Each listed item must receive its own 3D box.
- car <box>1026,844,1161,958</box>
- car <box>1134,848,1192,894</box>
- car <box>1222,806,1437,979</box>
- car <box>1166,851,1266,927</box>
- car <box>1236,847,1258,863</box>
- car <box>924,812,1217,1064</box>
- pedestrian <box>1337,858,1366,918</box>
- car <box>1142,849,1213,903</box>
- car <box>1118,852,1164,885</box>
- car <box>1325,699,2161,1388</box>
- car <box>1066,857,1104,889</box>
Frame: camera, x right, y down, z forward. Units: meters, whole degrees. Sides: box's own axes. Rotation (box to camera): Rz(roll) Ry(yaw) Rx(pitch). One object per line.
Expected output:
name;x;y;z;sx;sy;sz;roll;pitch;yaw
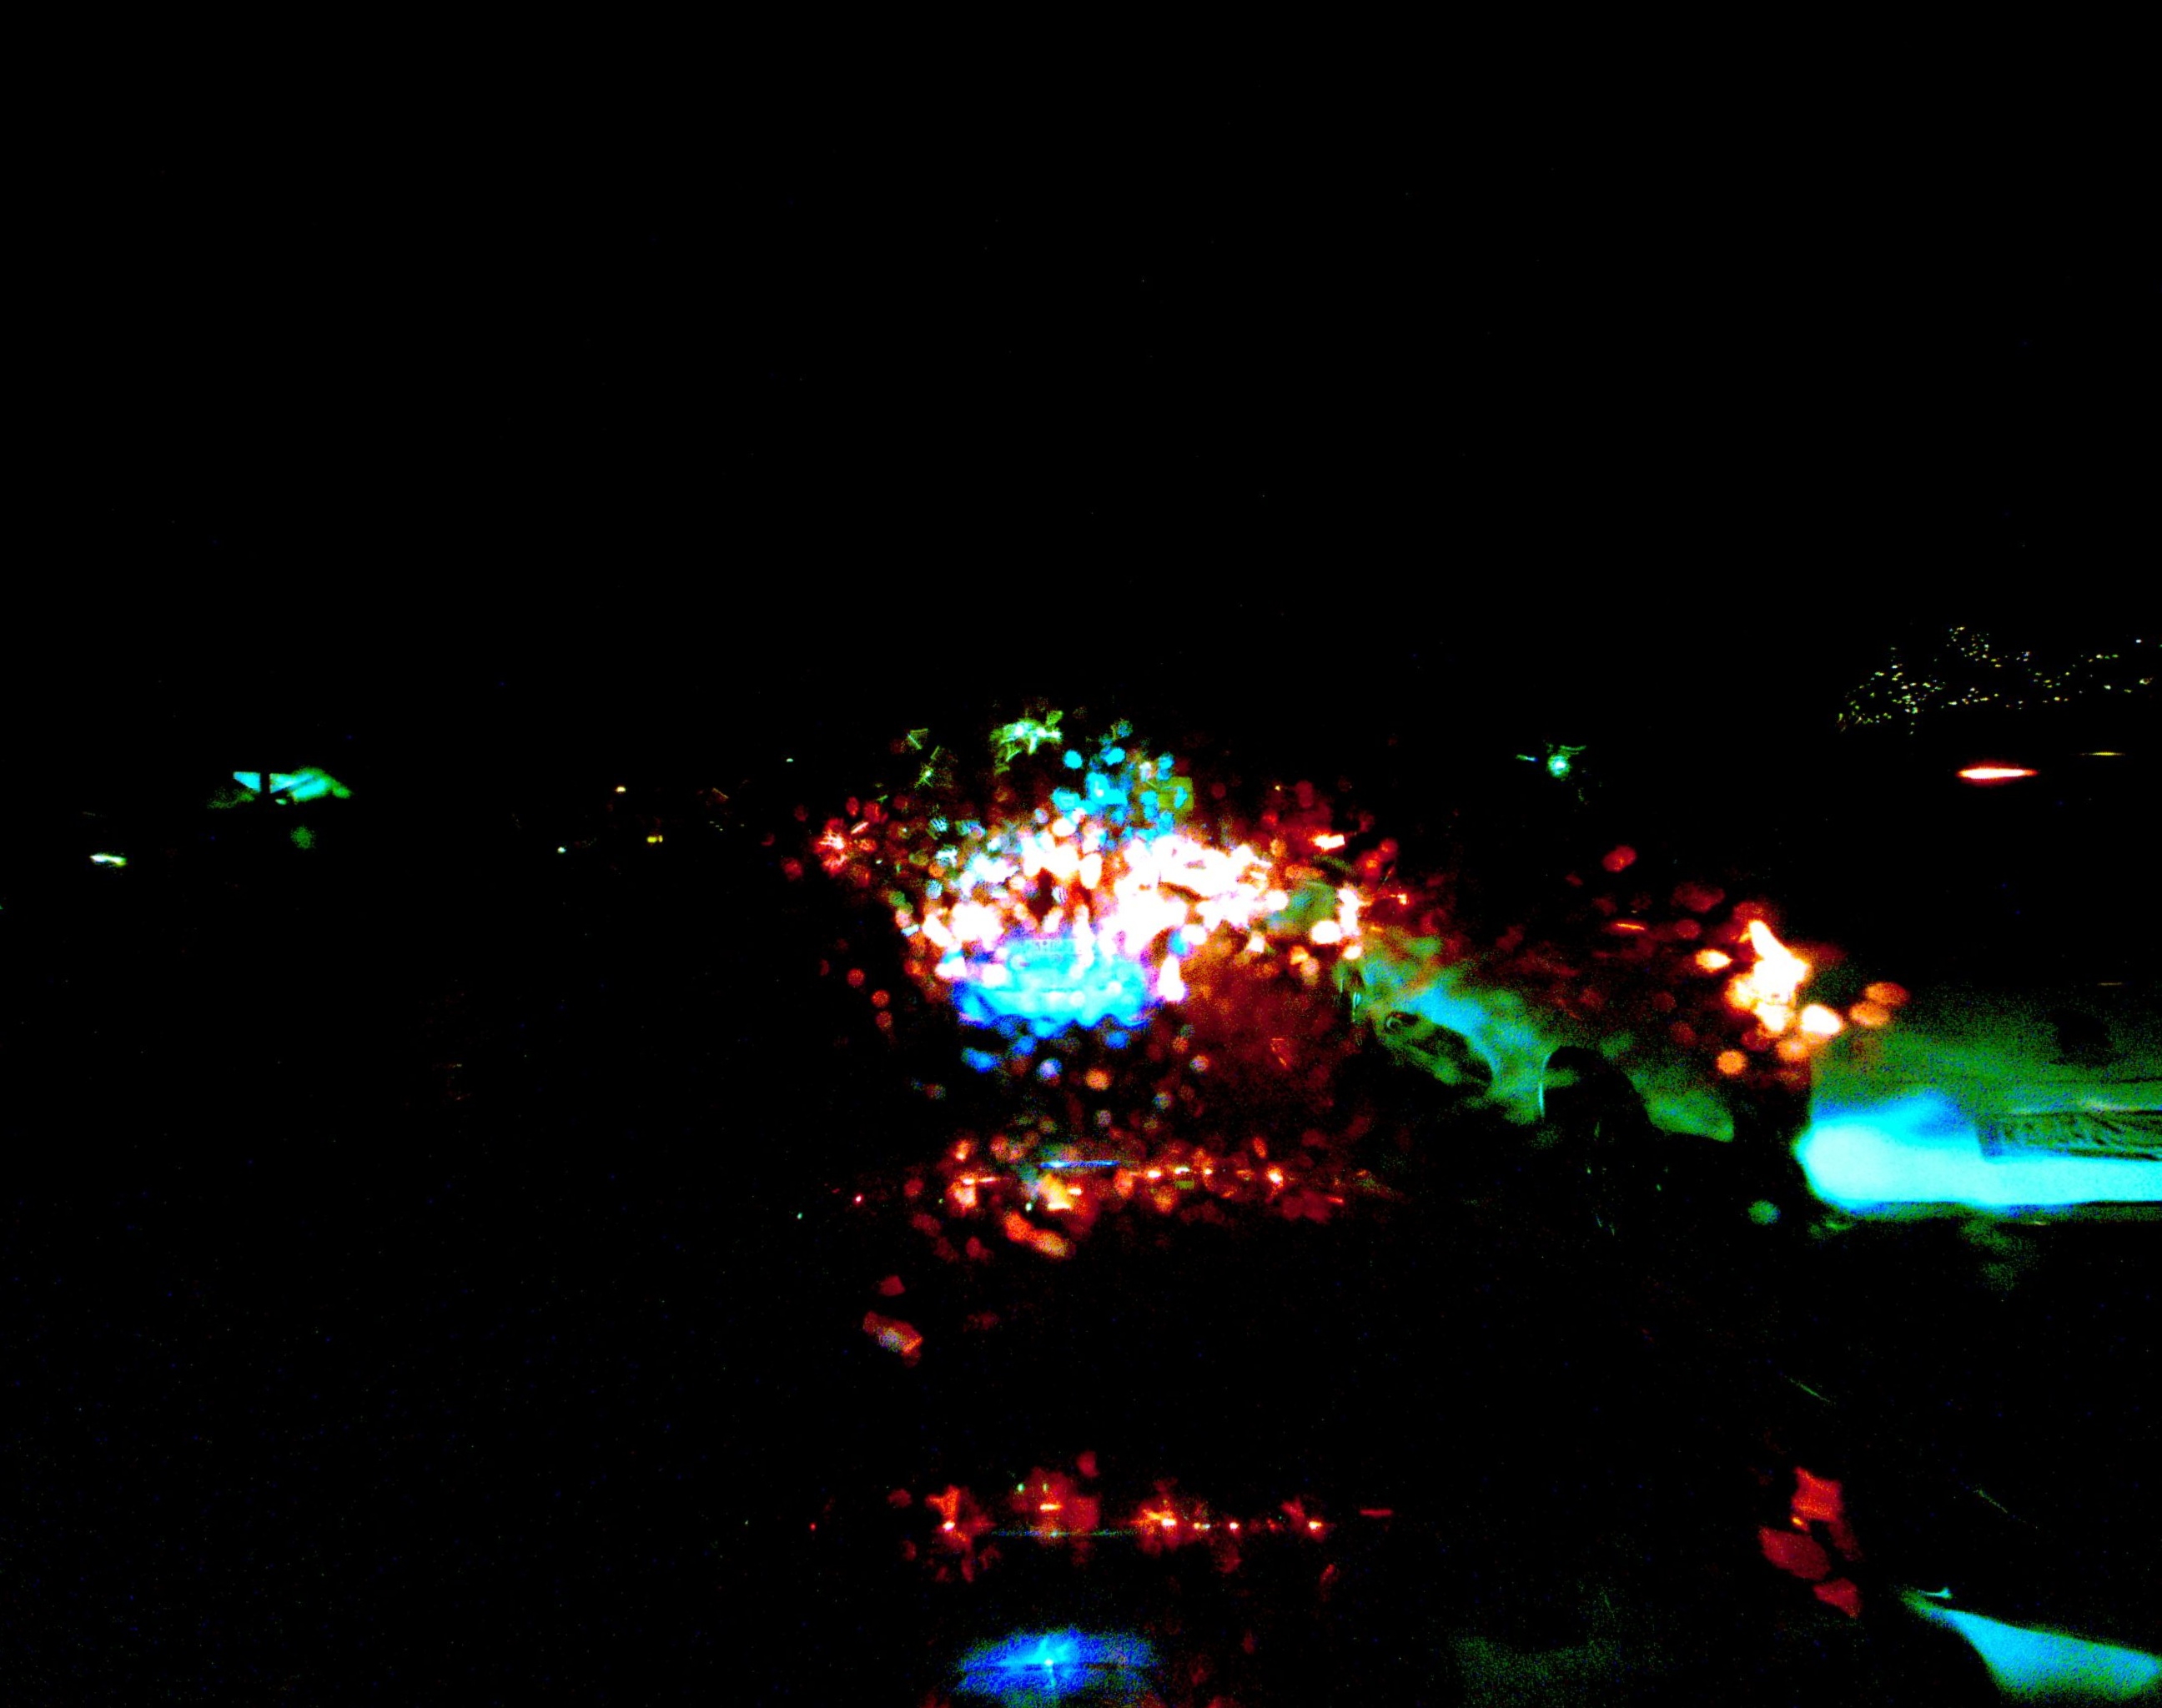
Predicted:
car;0.244;0.716;14.079;1.986;1.684;4.001;0;-1;2
car;3.327;0.683;33.590;1.987;1.773;3.999;0;-1;0
car;3.284;0.471;11.654;1.961;2.047;4.001;0;-1;2
car;3.283;0.813;20.604;1.986;1.718;4.001;0;-1;2
car;19.105;0.118;93.796;1.857;1.646;3.965;-3;-1;2
car;-0.052;0.596;7.820;2.008;1.717;4.451;0;-1;0
pedestrian;7.757;0.961;23.379;0.621;1.701;0.541;0;-1;-1
car;3.122;0.690;27.005;1.986;1.670;4.001;0;-1;2
car;2.939;0.684;40.496;1.853;1.544;3.927;0;-1;-2
car;2.833;0.529;4.386;1.845;1.865;4.342;0;-1;2
car;0.197;1.106;48.296;1.989;1.824;3.995;0;-1;-3
